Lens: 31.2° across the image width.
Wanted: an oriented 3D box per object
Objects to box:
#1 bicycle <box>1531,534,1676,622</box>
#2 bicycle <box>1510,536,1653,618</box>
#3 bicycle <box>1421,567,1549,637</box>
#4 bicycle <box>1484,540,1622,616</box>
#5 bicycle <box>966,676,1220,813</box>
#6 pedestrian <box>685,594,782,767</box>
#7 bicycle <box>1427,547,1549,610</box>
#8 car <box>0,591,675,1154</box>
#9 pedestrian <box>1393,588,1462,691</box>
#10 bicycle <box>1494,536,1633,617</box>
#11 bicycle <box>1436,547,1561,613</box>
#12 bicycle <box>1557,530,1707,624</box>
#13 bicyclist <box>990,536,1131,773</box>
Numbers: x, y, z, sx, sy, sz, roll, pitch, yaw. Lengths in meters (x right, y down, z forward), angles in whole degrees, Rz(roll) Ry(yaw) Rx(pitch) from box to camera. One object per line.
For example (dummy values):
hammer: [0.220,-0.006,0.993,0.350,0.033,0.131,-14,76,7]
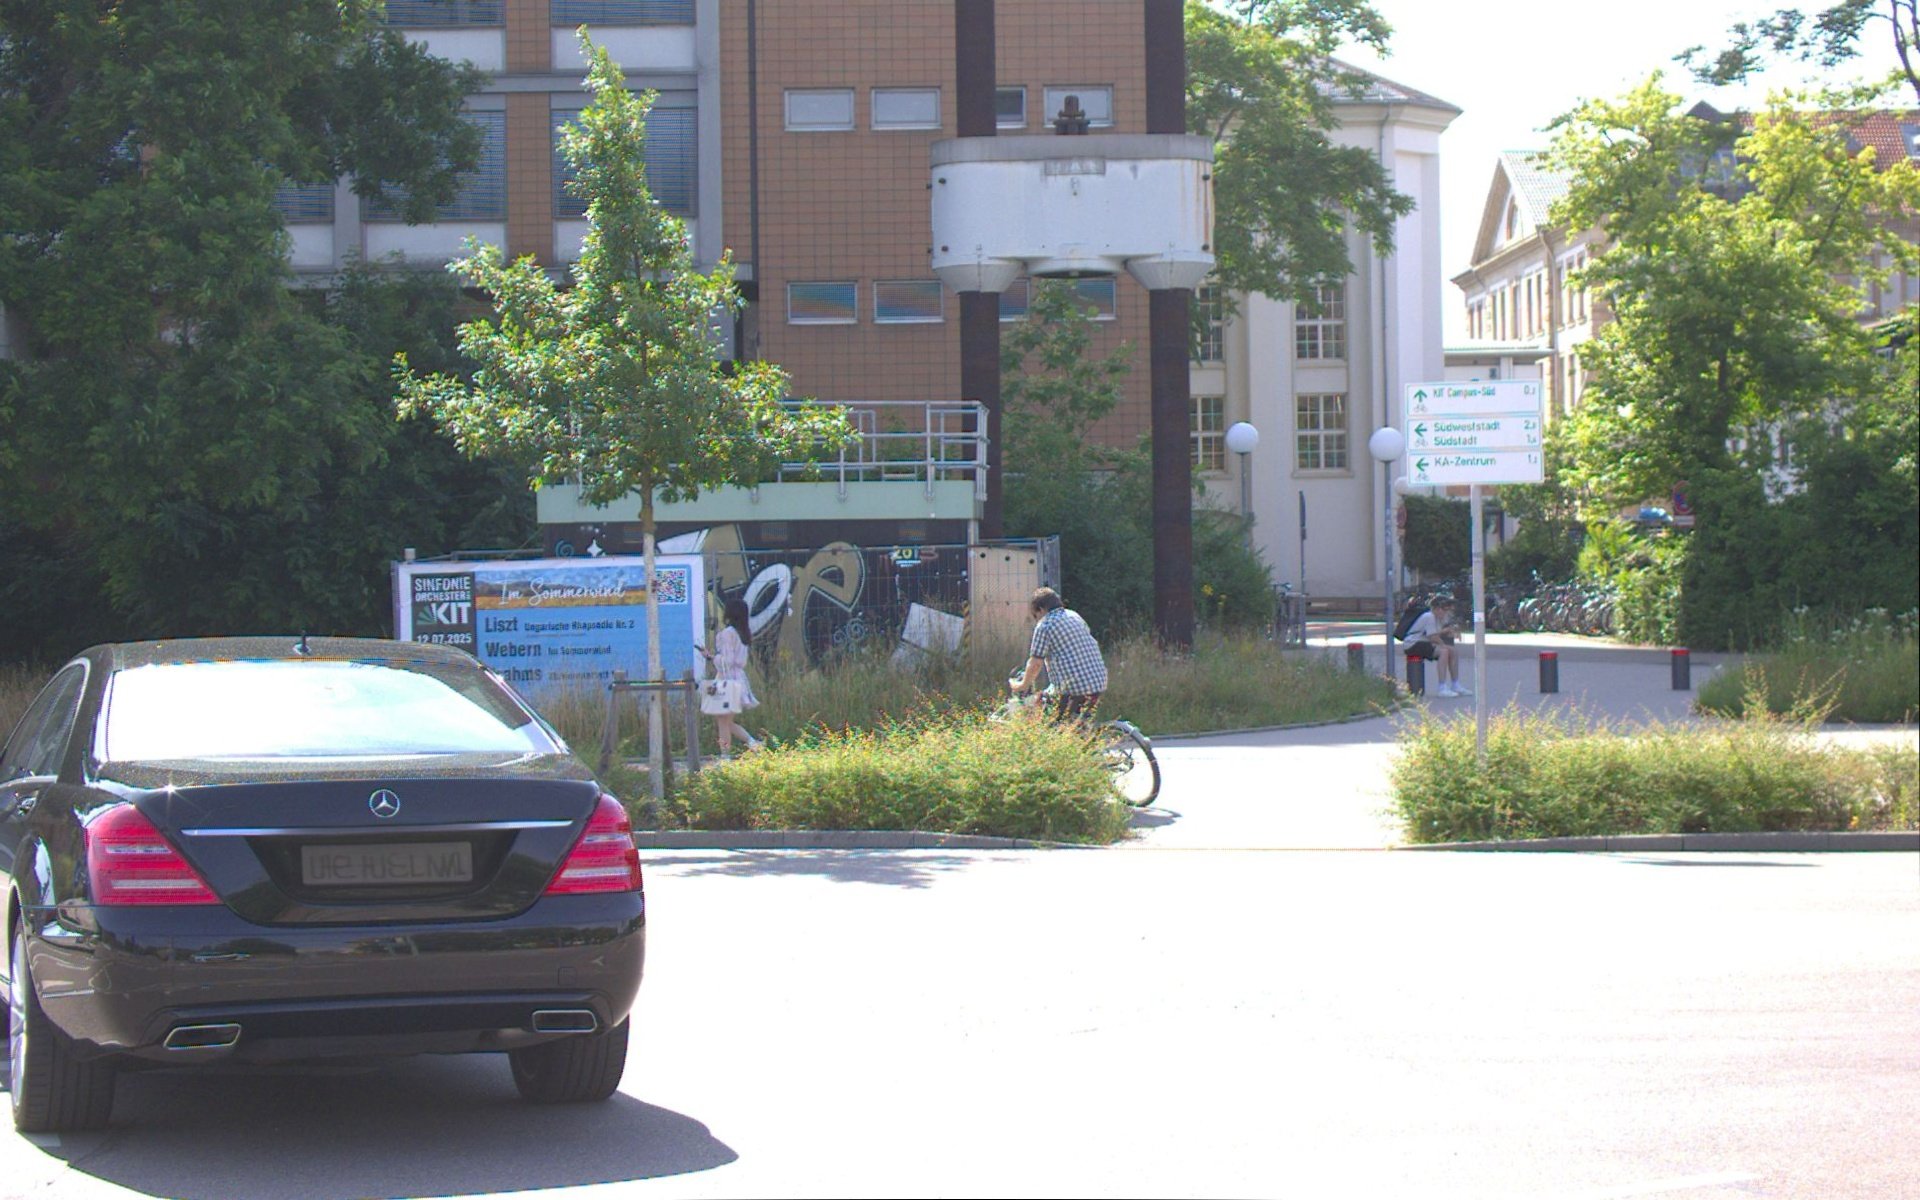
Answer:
bicycle: [13.391,-0.461,71.555,2.823,1.738,0.842,-1,1,-1]
bicycle: [13.156,-0.491,72.808,2.823,1.643,0.842,-1,1,-1]
bicycle: [12.223,0.041,80.055,2.823,1.553,0.842,-1,1,-1]
bicycle: [12.941,-0.484,75.083,2.823,1.581,0.842,-1,1,-1]
bicycle: [1.066,1.152,27.750,1.955,0.943,0.693,2,5,32]
pedestrian: [-2.096,0.737,31.927,0.811,1.574,0.692,-1,0,2]
bicycle: [12.905,-0.529,84.104,2.823,1.475,0.842,-1,1,-1]
car: [-2.472,0.829,11.863,1.858,1.525,4.714,2,-2,-19]
pedestrian: [5.659,0.470,41.641,0.793,1.209,0.757,1,0,7]
bicycle: [12.990,-0.509,74.014,2.823,1.653,0.842,-1,2,-1]
bicycle: [12.880,-0.482,82.321,2.823,1.495,0.842,-1,1,-1]
bicycle: [13.540,-0.464,69.295,2.823,1.830,0.842,-1,1,-1]
bicyclist: [0.819,0.431,27.947,0.858,1.872,0.687,2,1,32]
